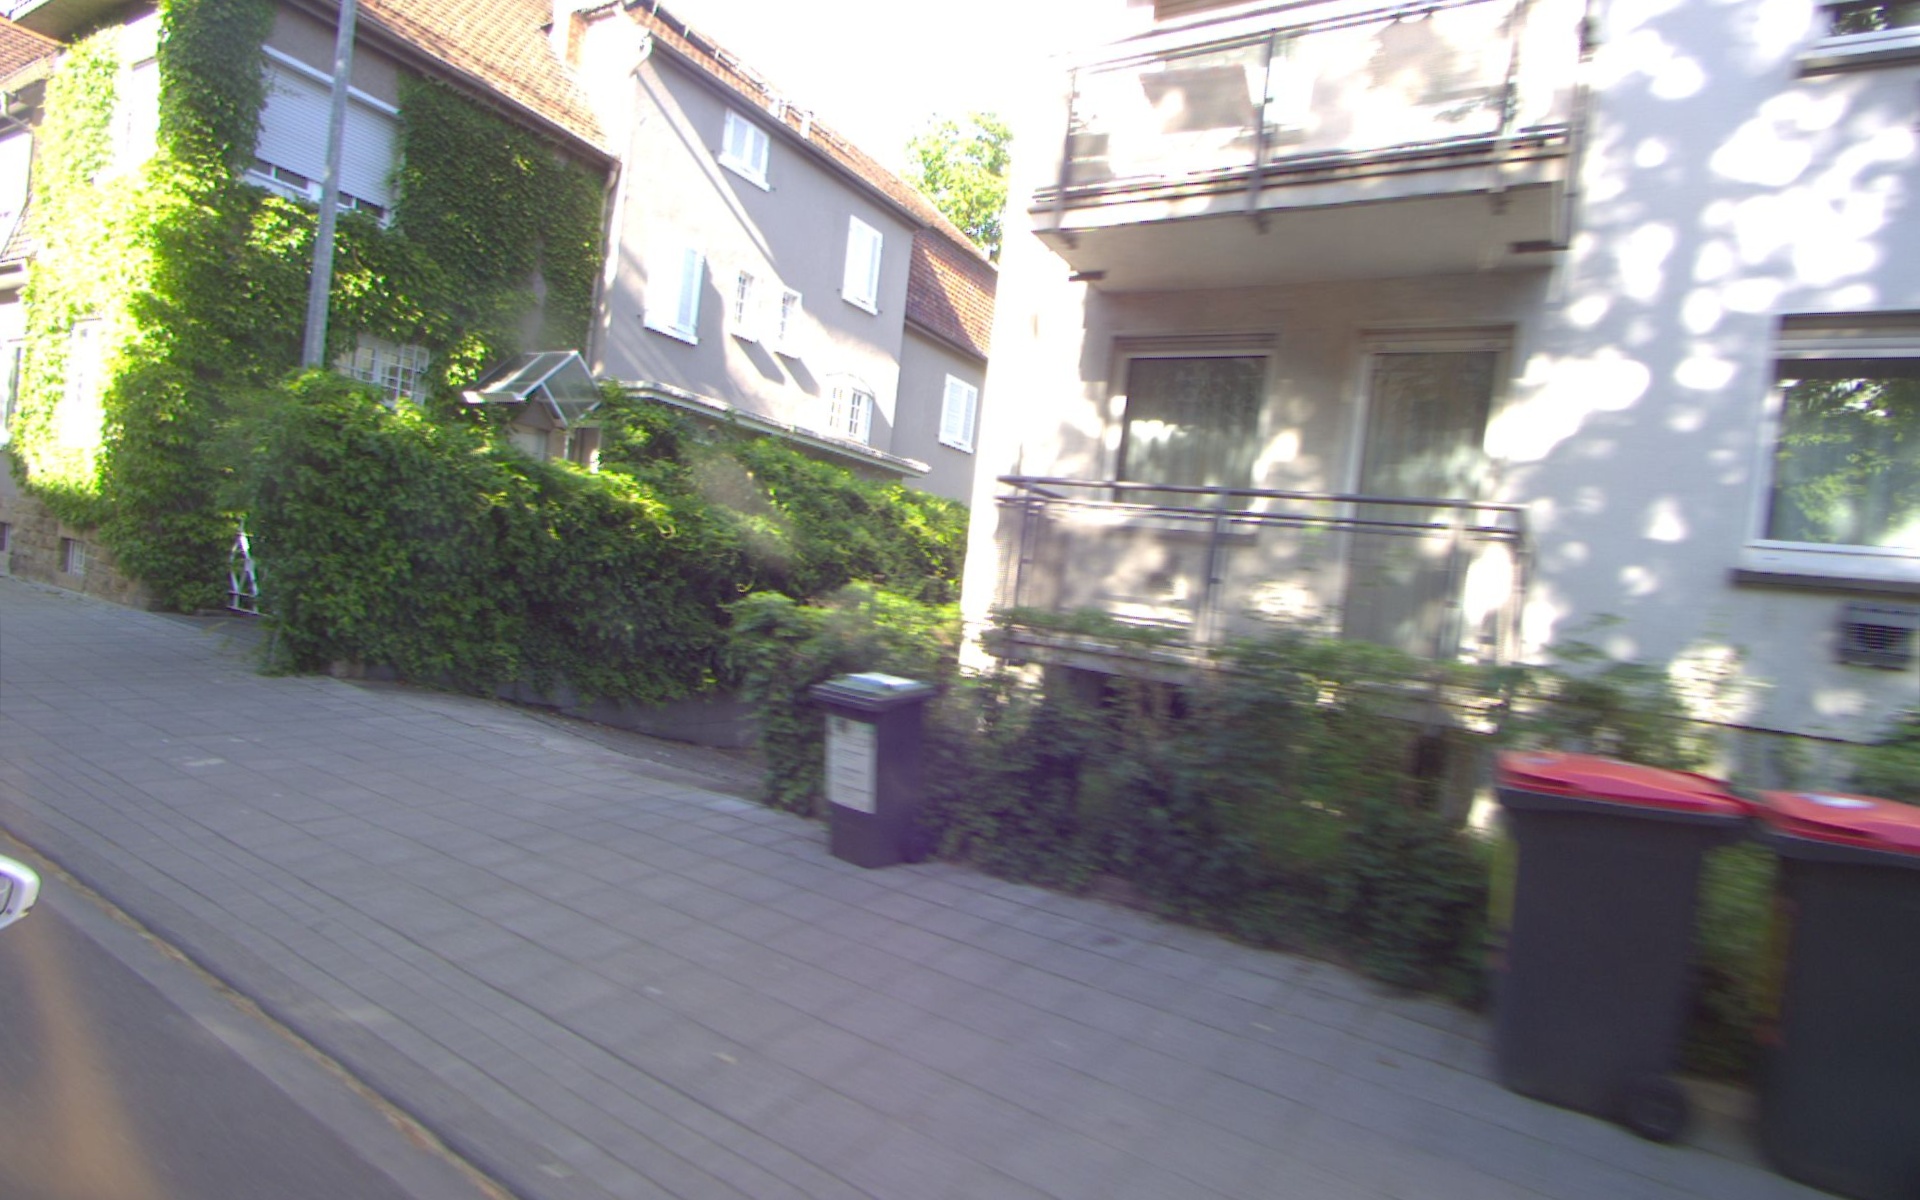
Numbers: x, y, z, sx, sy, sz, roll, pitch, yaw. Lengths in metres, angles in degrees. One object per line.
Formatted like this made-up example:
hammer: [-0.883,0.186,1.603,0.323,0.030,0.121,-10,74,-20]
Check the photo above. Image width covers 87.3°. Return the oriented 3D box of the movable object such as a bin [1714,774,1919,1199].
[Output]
movable object such as a bin: [2.638,1.112,2.852,0.646,1.059,0.483,7,5,31]

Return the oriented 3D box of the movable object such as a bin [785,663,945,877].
movable object such as a bin: [-0.485,0.833,5.128,0.564,0.929,0.502,7,5,36]

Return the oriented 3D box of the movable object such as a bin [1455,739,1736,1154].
movable object such as a bin: [2.015,1.050,3.243,0.608,1.059,0.483,7,5,31]
